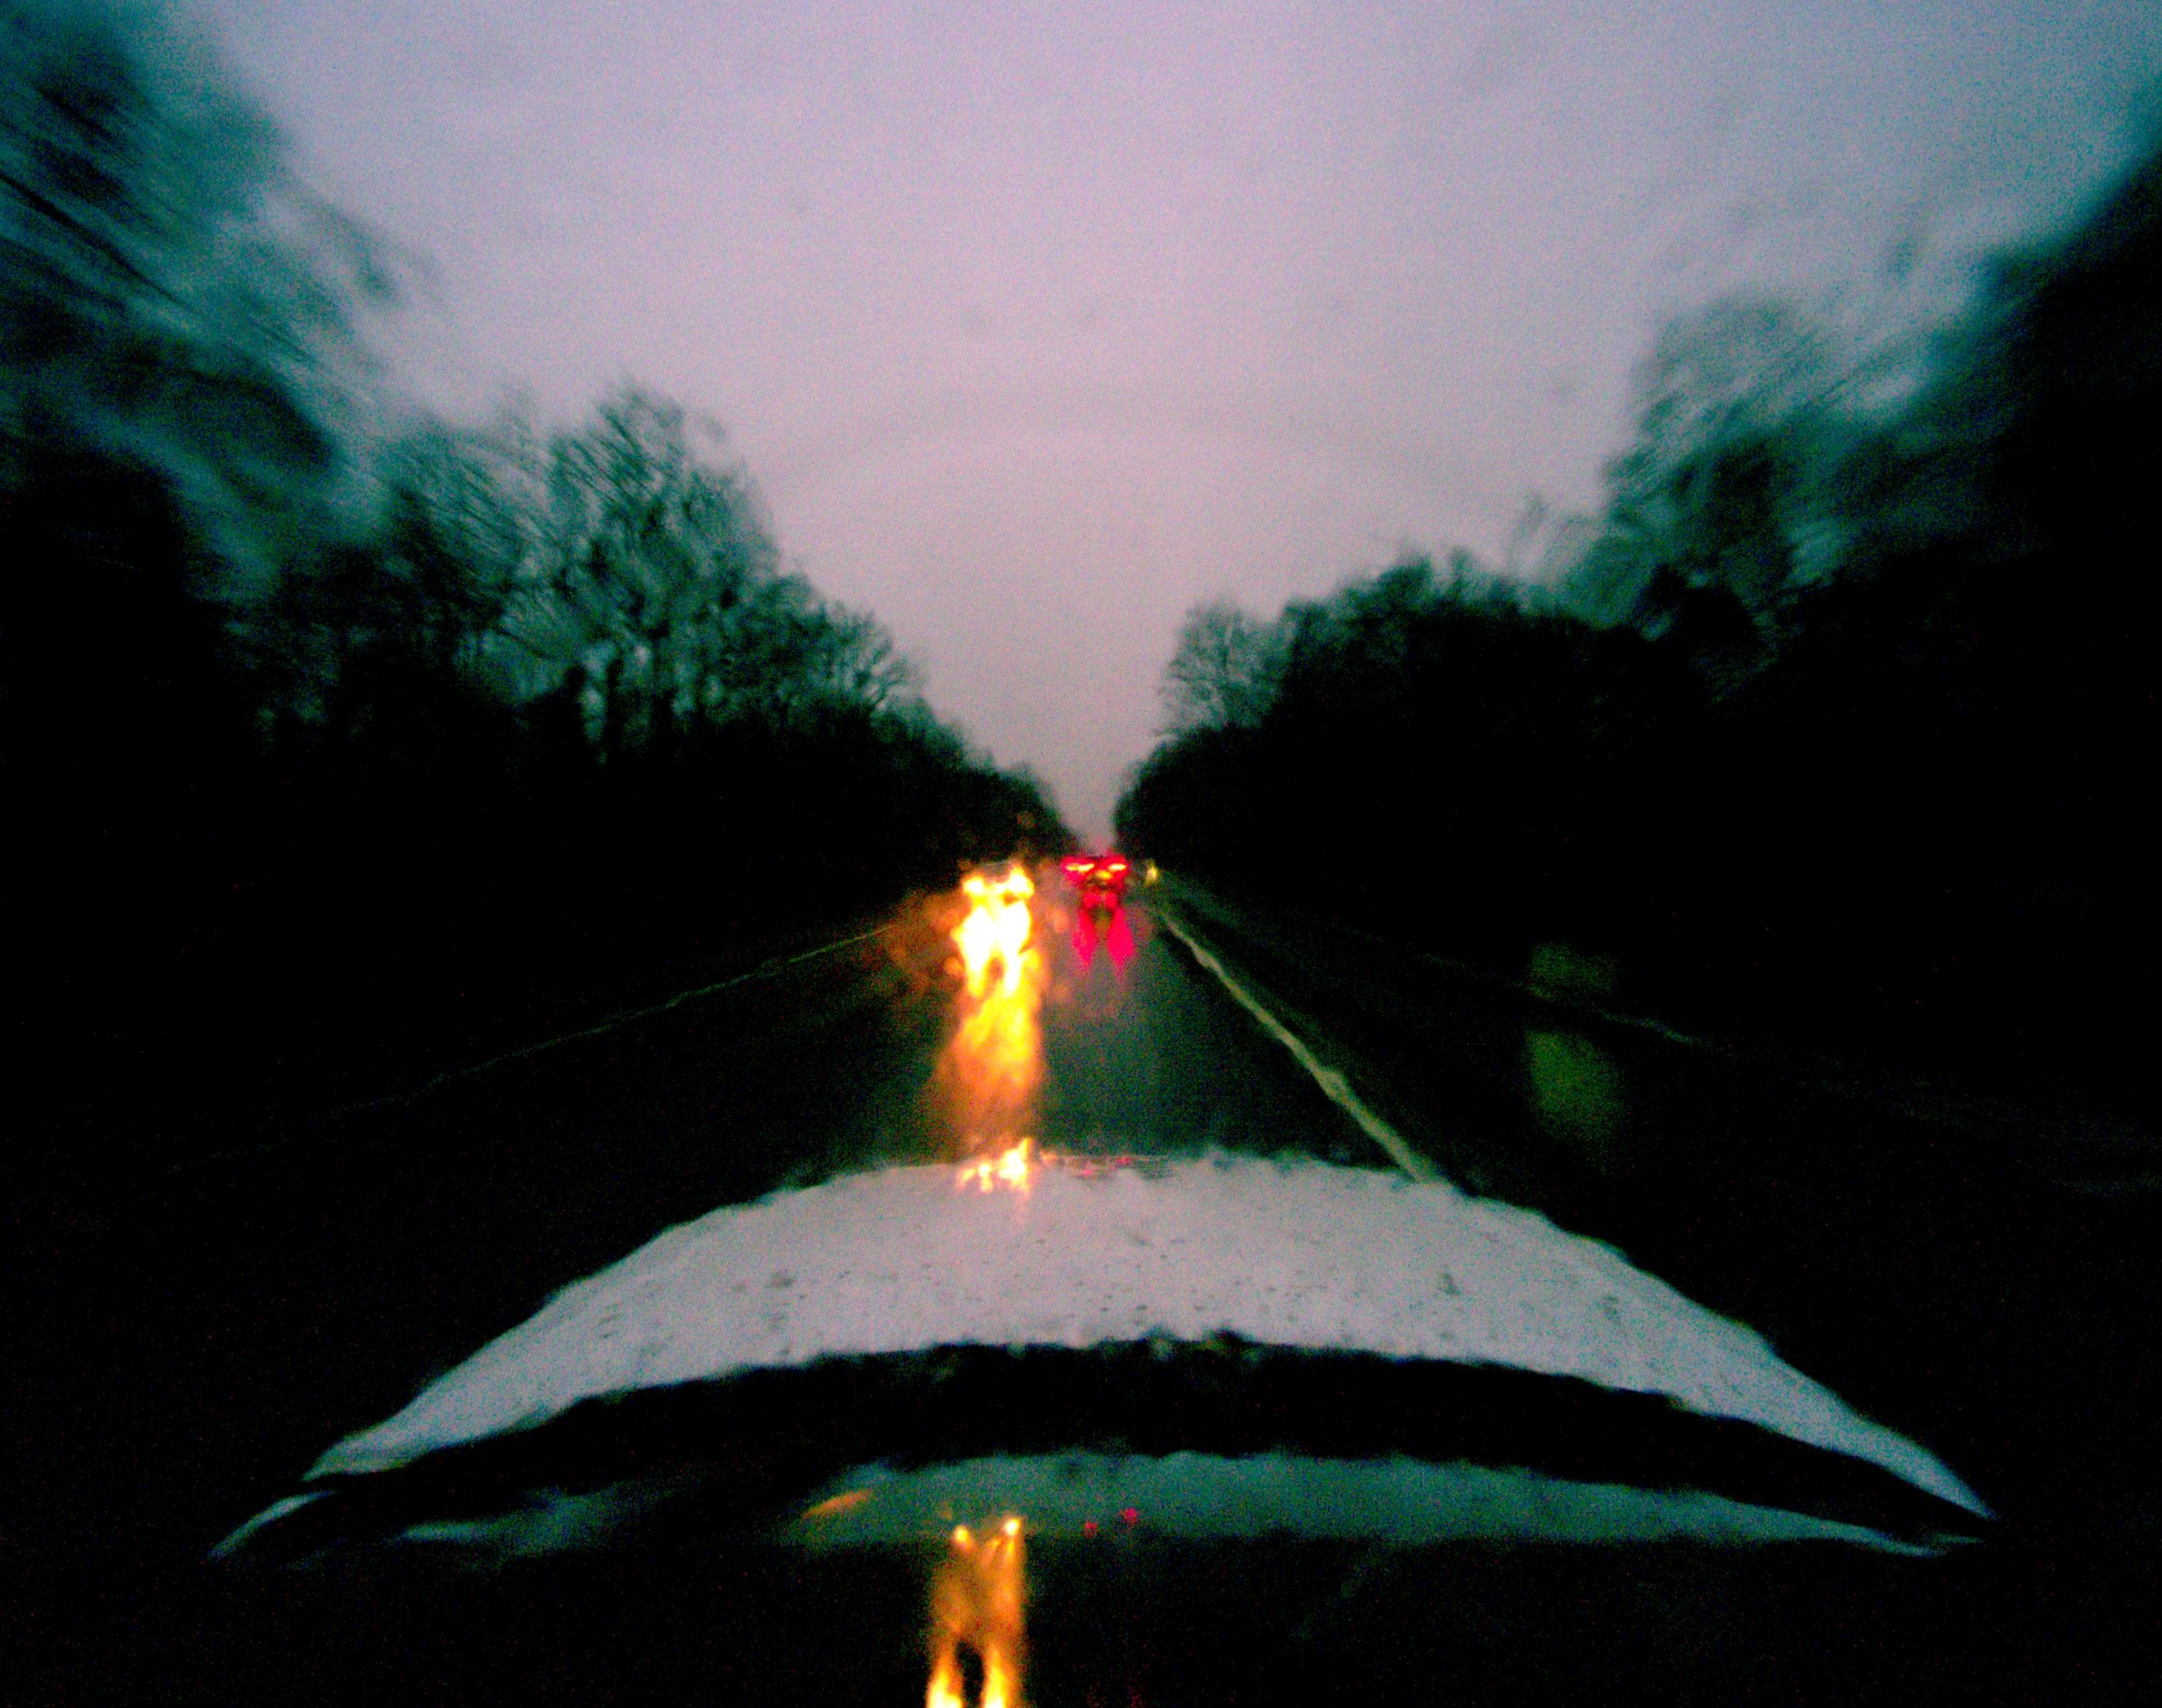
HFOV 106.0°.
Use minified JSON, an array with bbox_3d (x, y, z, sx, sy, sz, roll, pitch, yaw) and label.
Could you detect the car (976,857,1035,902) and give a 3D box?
[{"bbox_3d":[-2.610,0.841,28.961,1.613,1.389,4.072,-2,0,0],"label":"car"}]
